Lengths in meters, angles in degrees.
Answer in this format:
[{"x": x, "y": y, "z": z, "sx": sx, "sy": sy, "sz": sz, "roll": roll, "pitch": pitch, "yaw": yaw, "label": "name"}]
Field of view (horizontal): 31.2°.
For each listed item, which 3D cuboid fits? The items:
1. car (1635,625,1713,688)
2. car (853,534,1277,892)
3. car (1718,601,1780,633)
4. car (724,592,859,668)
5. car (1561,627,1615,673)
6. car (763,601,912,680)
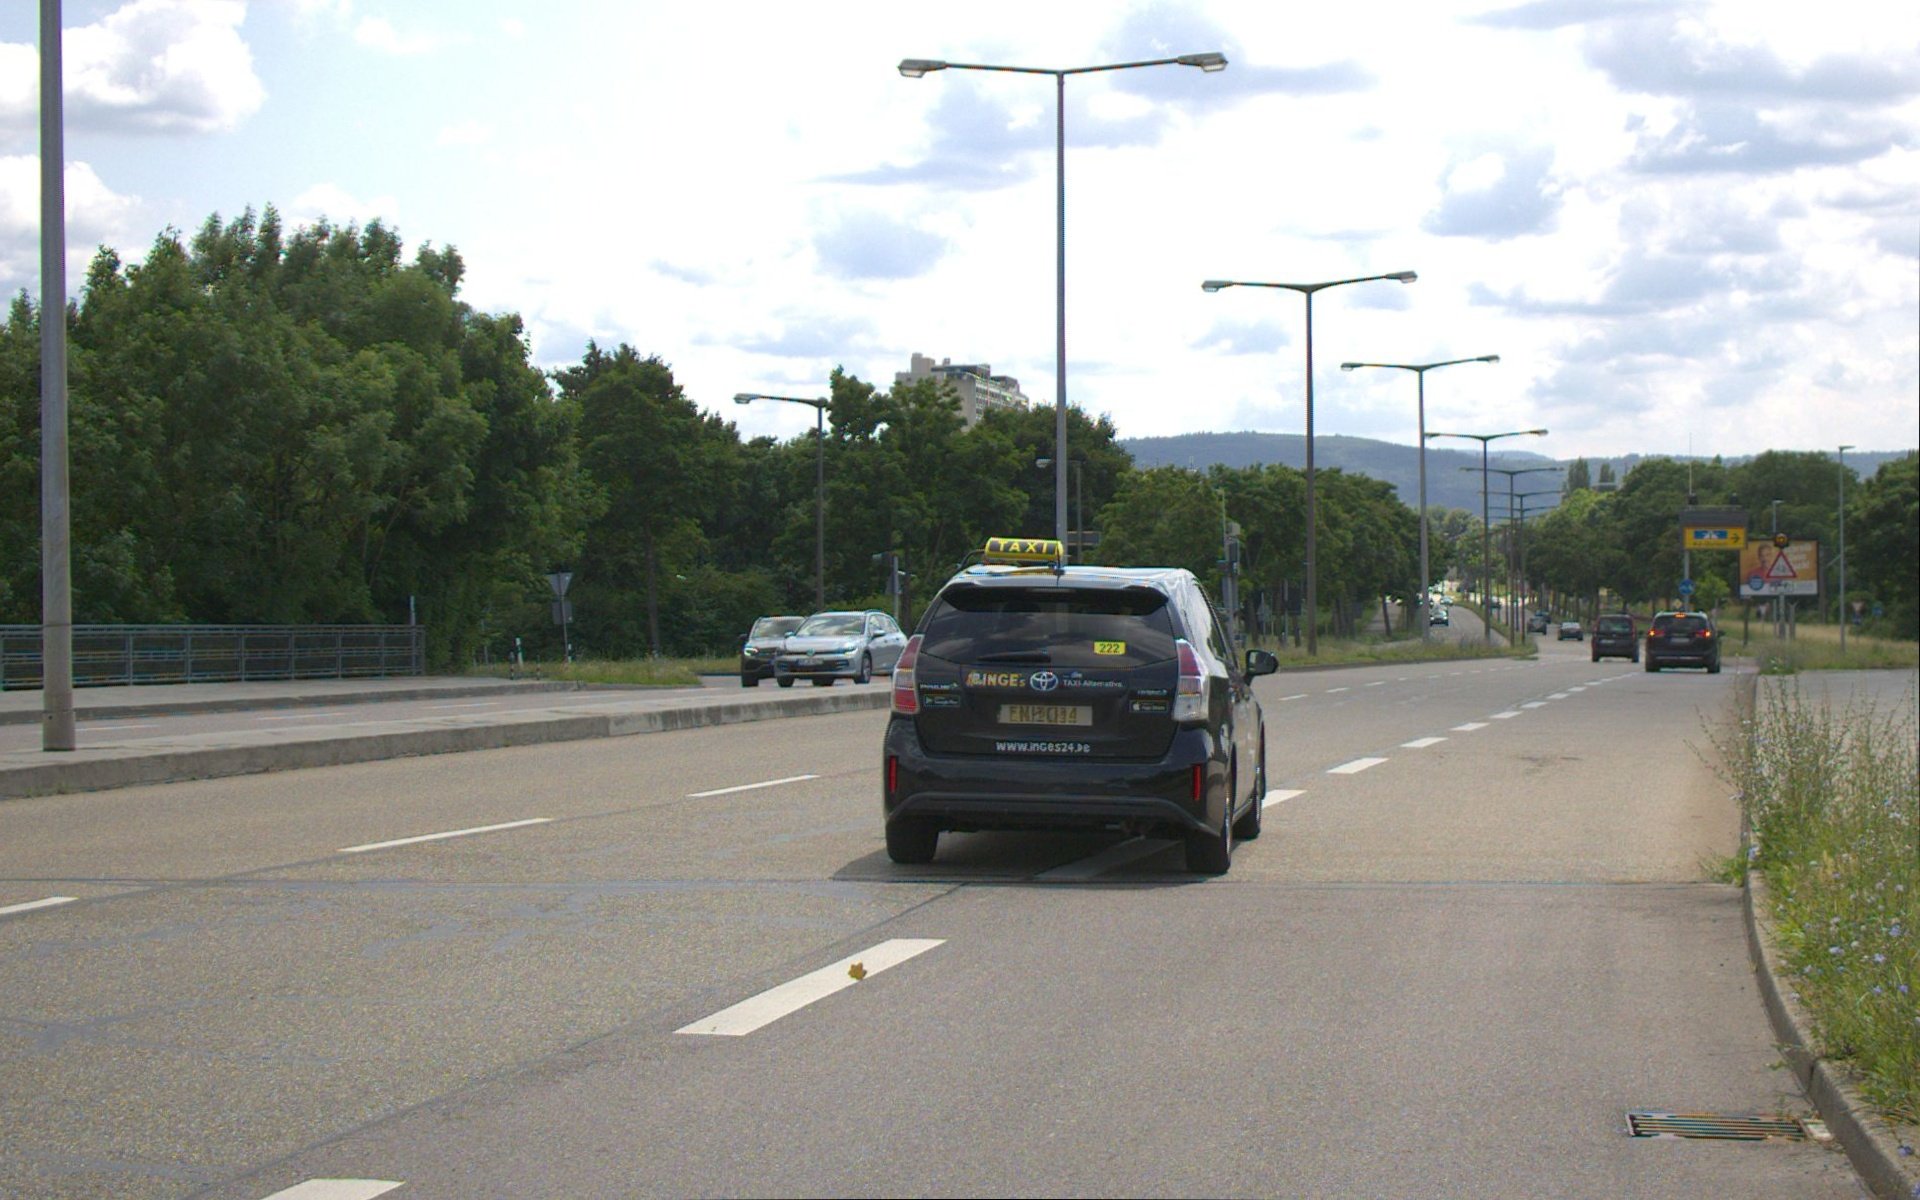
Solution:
[{"x": 20.603, "y": 1.618, "z": 99.276, "sx": 1.994, "sy": 1.656, "sz": 3.999, "roll": 1, "pitch": 1, "yaw": 9, "label": "car"}, {"x": 0.680, "y": 0.516, "z": 18.597, "sx": 1.780, "sy": 1.678, "sz": 3.999, "roll": 1, "pitch": 1, "yaw": 9, "label": "car"}, {"x": 44.773, "y": 0.963, "z": 195.096, "sx": 1.993, "sy": 1.656, "sz": 4.001, "roll": 1, "pitch": 1, "yaw": -10, "label": "car"}, {"x": -3.863, "y": 0.660, "z": 79.668, "sx": 2.089, "sy": 1.621, "sz": 4.548, "roll": 1, "pitch": 1, "yaw": 11, "label": "car"}, {"x": 24.711, "y": 1.940, "z": 135.328, "sx": 1.994, "sy": 1.656, "sz": 3.999, "roll": 1, "pitch": 1, "yaw": 9, "label": "car"}, {"x": -2.355, "y": 0.773, "z": 67.525, "sx": 1.664, "sy": 1.408, "sz": 4.547, "roll": -2, "pitch": 0, "yaw": 14, "label": "car"}]
